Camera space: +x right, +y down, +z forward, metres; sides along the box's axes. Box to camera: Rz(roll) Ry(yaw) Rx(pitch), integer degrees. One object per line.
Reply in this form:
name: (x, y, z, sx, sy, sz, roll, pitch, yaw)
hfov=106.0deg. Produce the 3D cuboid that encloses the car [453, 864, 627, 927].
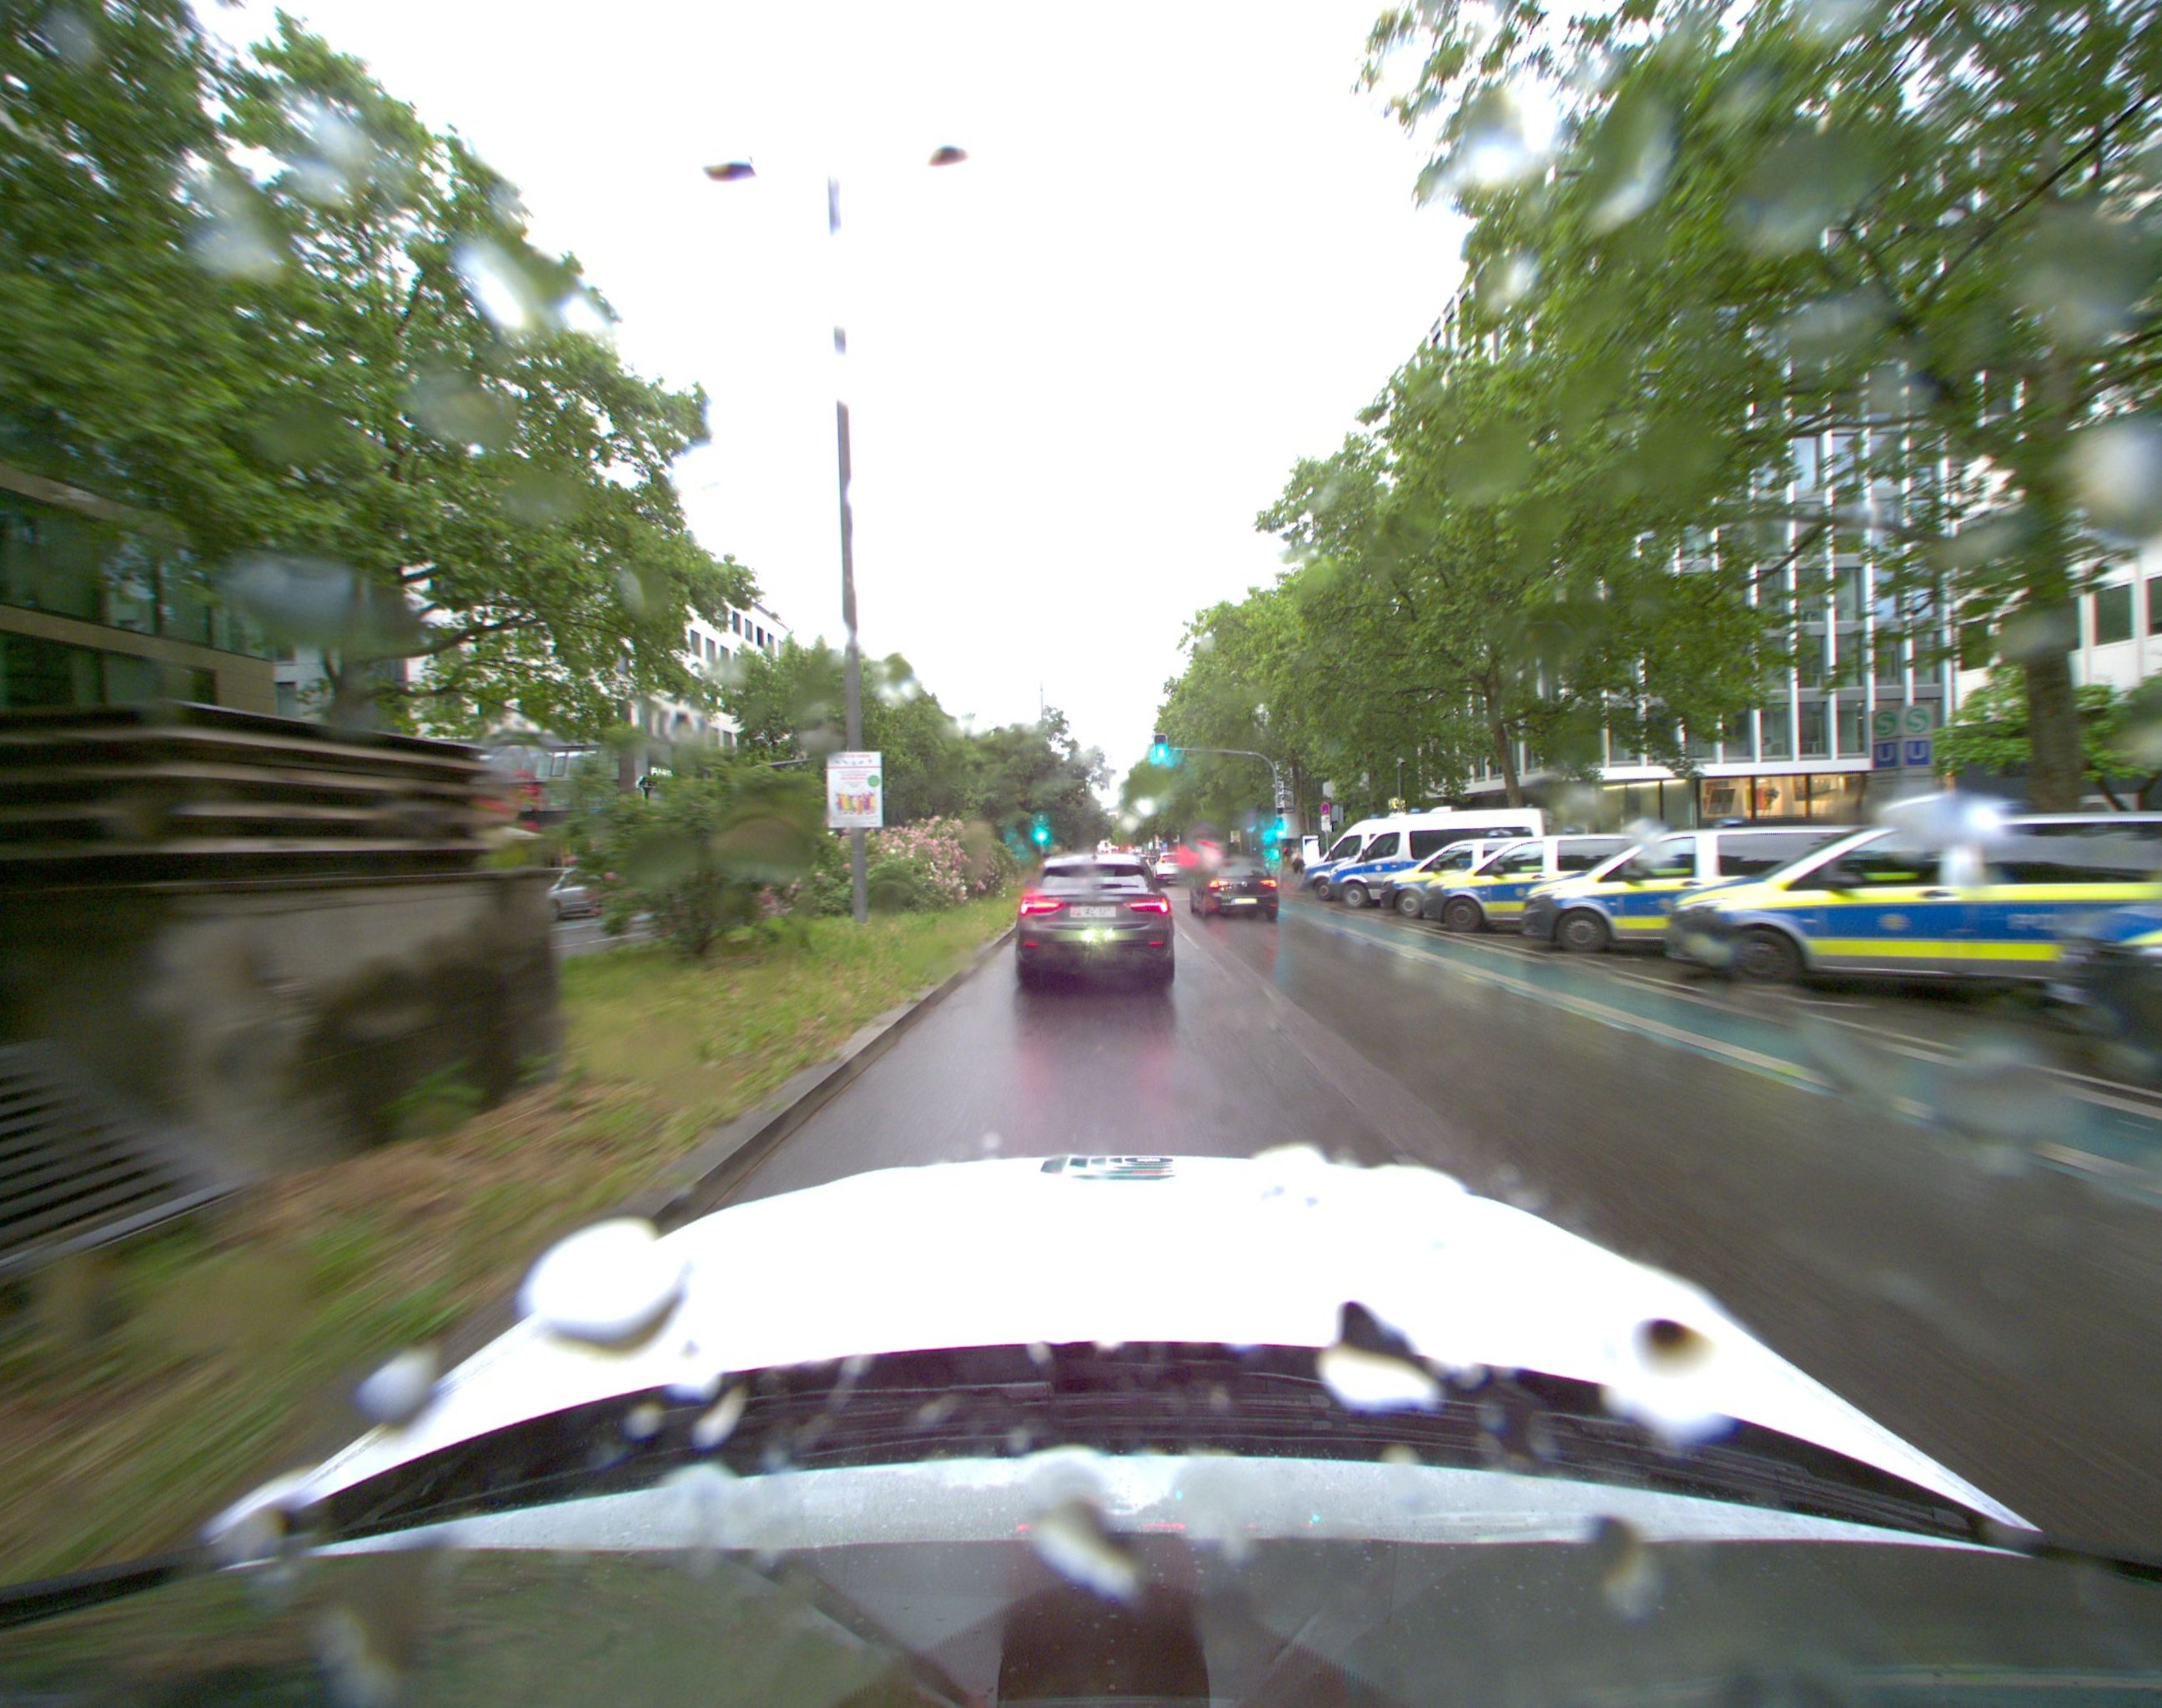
car: (-15.490, 1.119, 23.674, 1.987, 1.509, 4.517, -2, 0, 0)

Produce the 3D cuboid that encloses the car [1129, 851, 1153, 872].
car: (5.293, 0.665, 72.122, 1.986, 1.750, 4.002, -2, 0, 2)

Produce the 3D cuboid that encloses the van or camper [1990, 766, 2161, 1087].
van or camper: (9.166, 0.387, 4.623, 4.959, 1.995, 2.013, -2, 0, 34)

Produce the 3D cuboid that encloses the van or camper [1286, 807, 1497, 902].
van or camper: (9.583, 0.042, 25.470, 5.741, 2.677, 2.161, -1, 0, 39)

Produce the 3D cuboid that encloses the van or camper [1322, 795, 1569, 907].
van or camper: (9.724, -0.031, 22.063, 5.736, 2.680, 2.013, -2, 0, 37)

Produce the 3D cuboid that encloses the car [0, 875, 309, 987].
car: (-15.677, 1.104, 13.144, 1.986, 1.370, 4.542, 1, 0, 2)

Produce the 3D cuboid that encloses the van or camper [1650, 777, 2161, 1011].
van or camper: (9.152, 0.349, 8.545, 5.042, 2.025, 2.119, -1, 0, 39)

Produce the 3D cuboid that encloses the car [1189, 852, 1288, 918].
car: (3.808, 0.699, 20.338, 1.759, 1.413, 4.001, -2, 0, 1)

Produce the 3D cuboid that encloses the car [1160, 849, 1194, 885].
car: (4.761, 0.618, 40.763, 1.427, 1.685, 2.980, -2, 0, 2)

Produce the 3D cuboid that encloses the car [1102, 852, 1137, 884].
car: (2.002, 0.708, 43.259, 1.715, 1.577, 3.963, -2, 0, 2)

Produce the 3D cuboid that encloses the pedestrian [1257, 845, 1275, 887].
pedestrian: (8.234, 0.524, 36.301, 0.605, 1.831, 0.563, -1, 0, -8)

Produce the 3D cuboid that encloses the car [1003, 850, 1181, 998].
car: (0.241, 0.732, 10.887, 1.855, 1.532, 4.530, -1, 0, 3)

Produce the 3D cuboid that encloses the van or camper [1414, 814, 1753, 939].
van or camper: (9.226, 0.385, 15.322, 5.142, 1.992, 2.013, -1, -1, 36)

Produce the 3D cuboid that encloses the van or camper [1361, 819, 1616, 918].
van or camper: (9.354, 0.363, 18.901, 4.952, 2.014, 2.013, -2, -2, 37)
